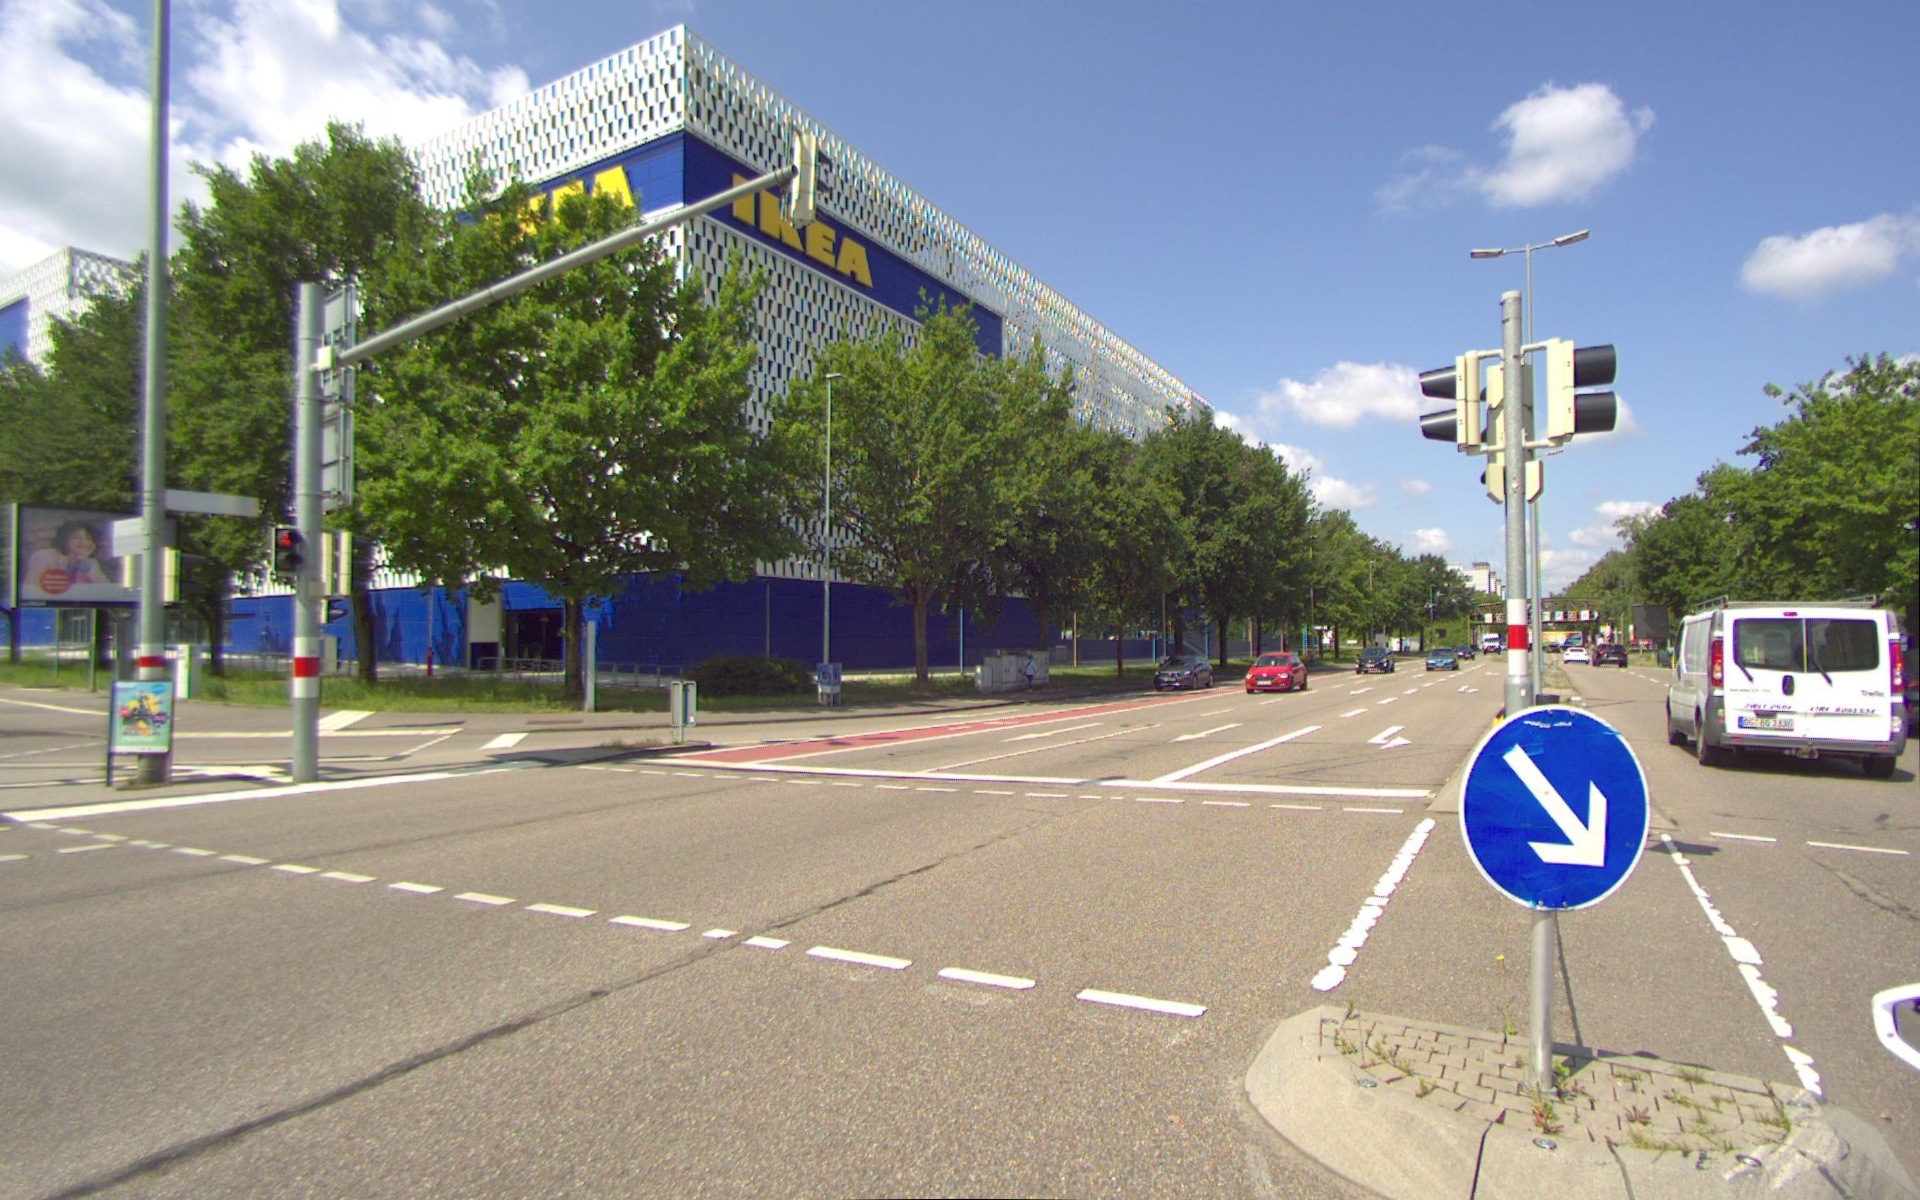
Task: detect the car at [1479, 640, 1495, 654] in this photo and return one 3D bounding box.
[{"bbox_3d":[71.523,6.383,136.302,1.899,1.778,4.813,-1,-2,29],"label":"car"}]

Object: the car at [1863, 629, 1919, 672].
[{"bbox_3d":[48.951,2.566,50.841,4.509,2.076,1.903,0,0,31],"label":"car"}]

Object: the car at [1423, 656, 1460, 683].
[{"bbox_3d":[30.582,4.382,63.730,1.747,1.568,4.813,-4,-4,29],"label":"car"}]

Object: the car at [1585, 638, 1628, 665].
[{"bbox_3d":[44.154,3.508,68.687,1.743,1.639,4.266,0,0,22],"label":"car"}]

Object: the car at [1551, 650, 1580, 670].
[{"bbox_3d":[51.002,5.018,84.700,1.827,1.461,3.994,0,0,28],"label":"car"}]

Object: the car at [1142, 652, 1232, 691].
[{"bbox_3d":[9.939,3.074,43.738,1.869,1.575,4.564,-2,-3,41],"label":"car"}]

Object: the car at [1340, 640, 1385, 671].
[{"bbox_3d":[25.202,3.460,62.770,1.900,1.778,4.813,-4,-4,29],"label":"car"}]

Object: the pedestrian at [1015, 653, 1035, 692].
[{"bbox_3d":[2.666,2.955,41.180,0.495,1.575,0.759,-1,-2,30],"label":"pedestrian"}]

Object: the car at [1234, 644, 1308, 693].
[{"bbox_3d":[11.861,2.546,38.128,1.816,1.622,4.557,-1,-1,29],"label":"car"}]

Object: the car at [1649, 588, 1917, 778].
[{"bbox_3d":[10.736,0.968,13.516,1.944,2.087,4.557,-1,-1,29],"label":"car"}]

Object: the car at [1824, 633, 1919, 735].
[{"bbox_3d":[17.461,1.461,18.326,1.747,1.651,3.994,-1,-1,28],"label":"car"}]
